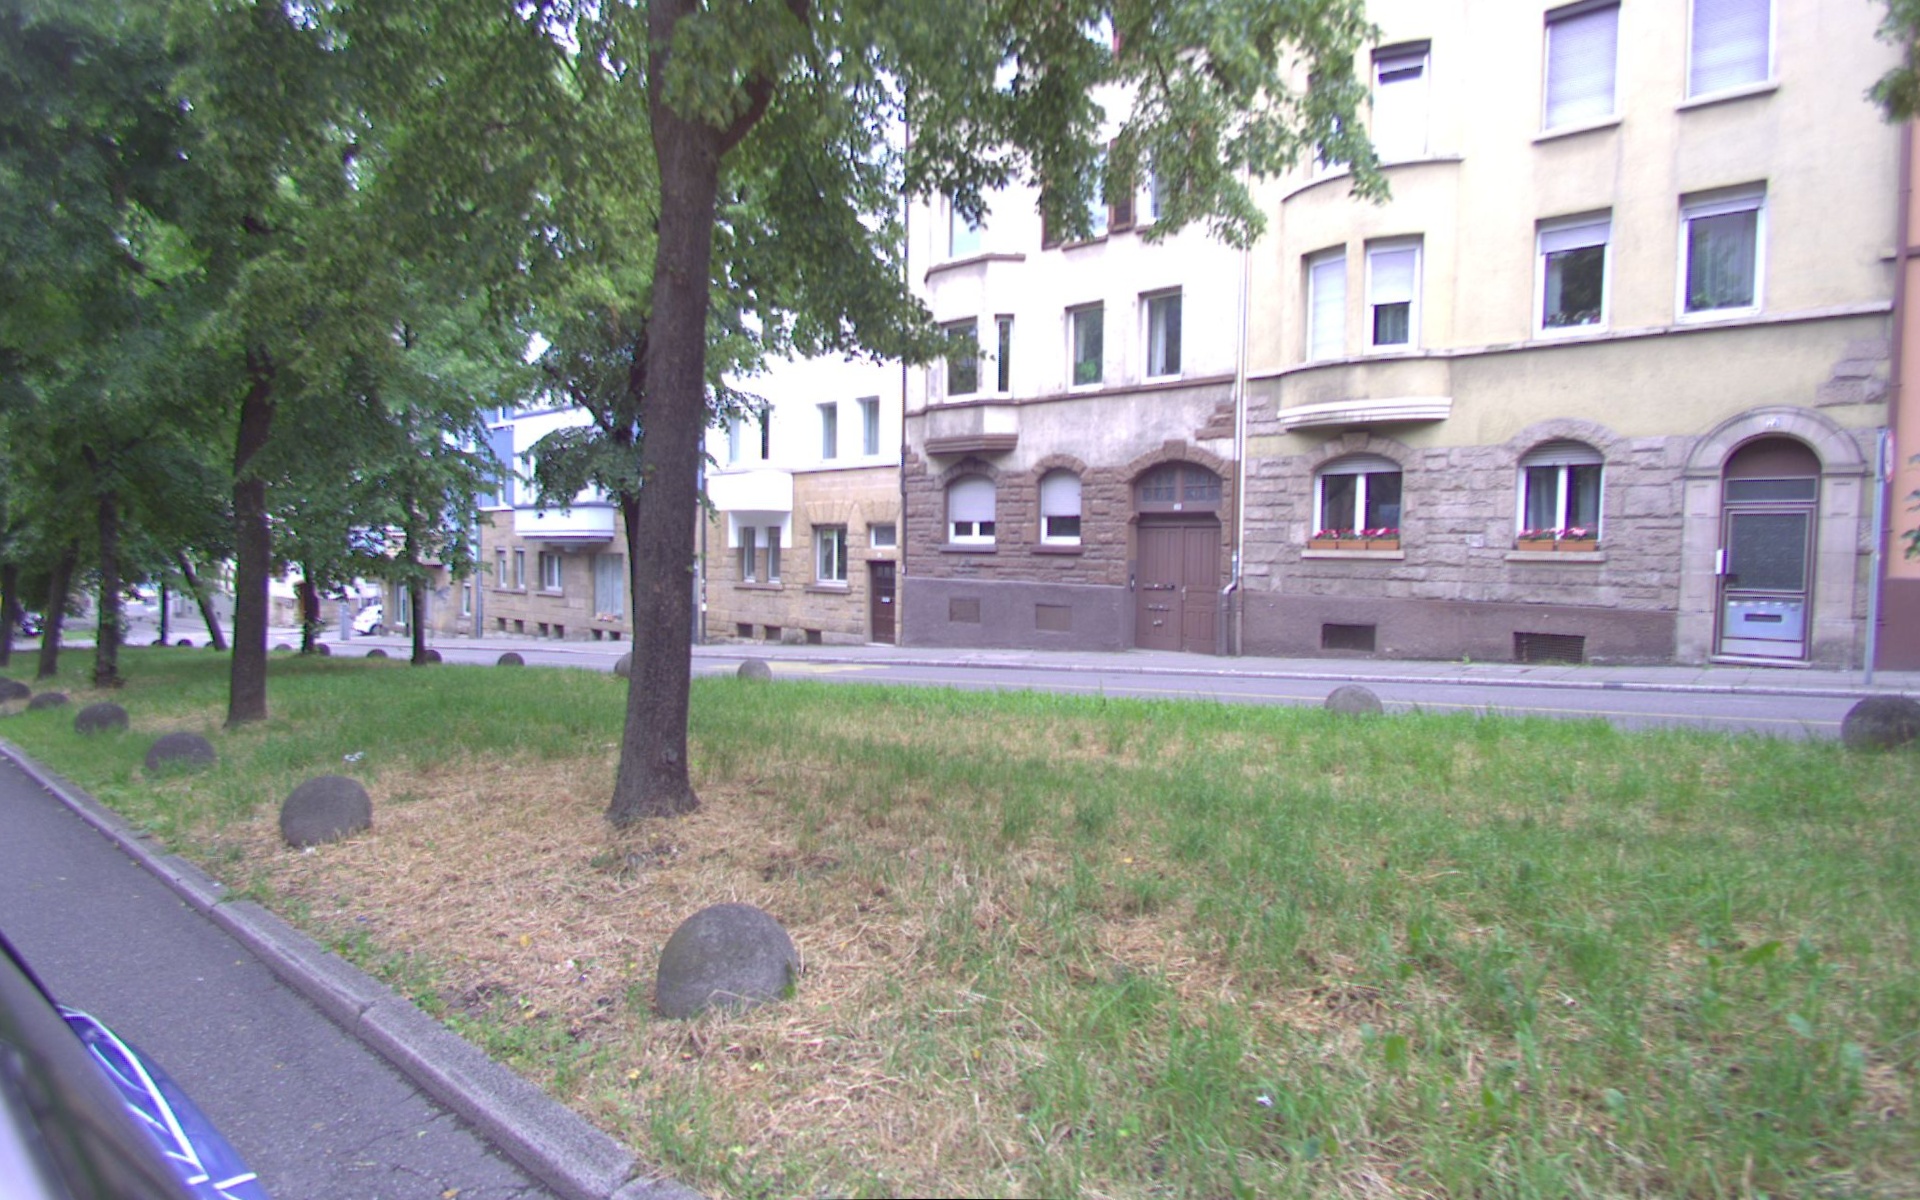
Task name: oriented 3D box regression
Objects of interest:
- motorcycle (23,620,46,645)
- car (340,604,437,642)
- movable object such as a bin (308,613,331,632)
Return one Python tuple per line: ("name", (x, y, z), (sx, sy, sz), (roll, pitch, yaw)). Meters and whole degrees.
("motorcycle", (-45.385, 1.571, 49.643), (0.740, 1.081, 1.854), (-2, 4, -41))
("car", (-29.995, 1.173, 53.243), (1.869, 1.480, 3.960), (2, 7, 38))
("movable object such as a bin", (-36.217, 1.267, 57.231), (0.668, 1.000, 0.877), (0, 4, 40))
